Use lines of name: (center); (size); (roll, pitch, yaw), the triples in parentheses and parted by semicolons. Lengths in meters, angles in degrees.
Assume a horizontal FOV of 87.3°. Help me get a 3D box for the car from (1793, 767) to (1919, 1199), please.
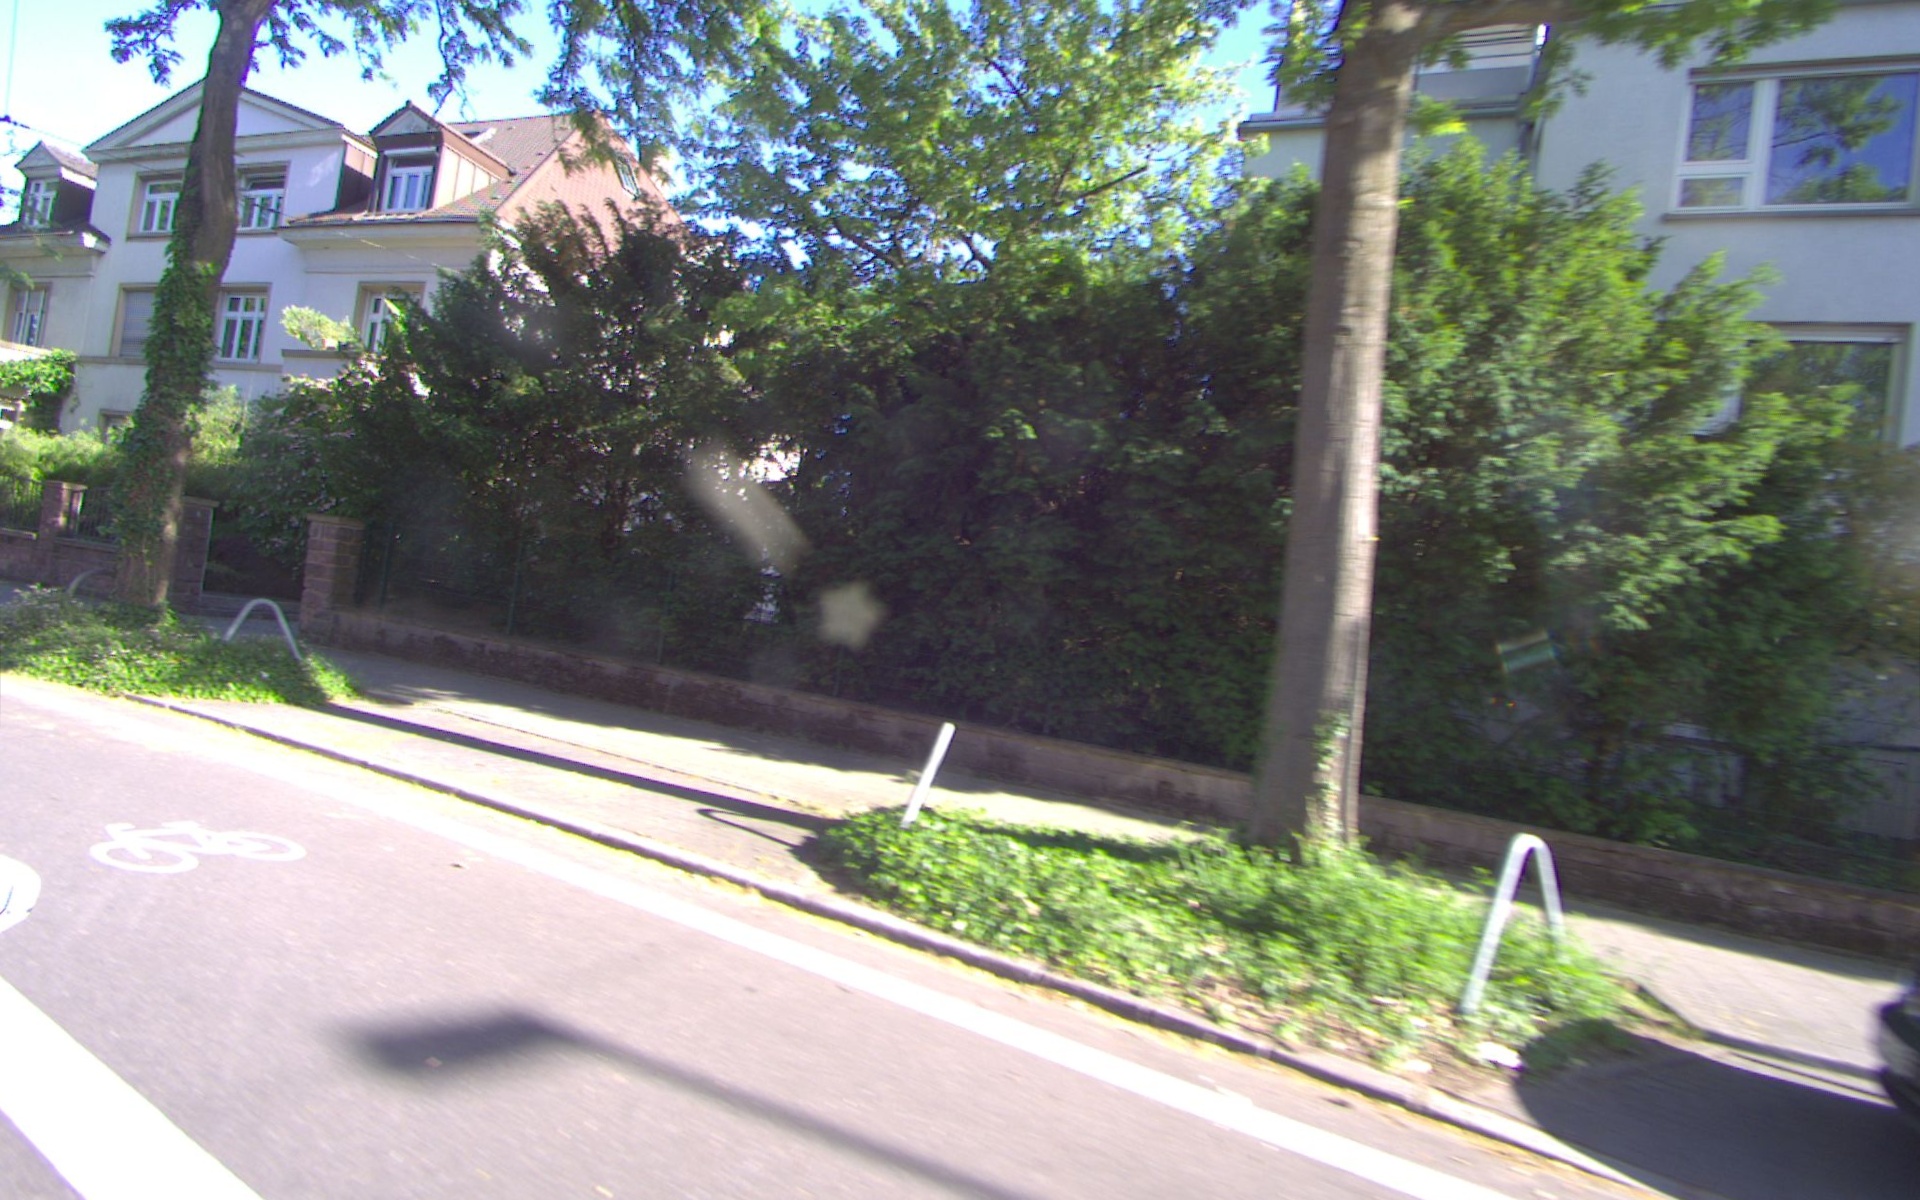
car: (5.439, 1.620, 2.882); (4.257, 1.439, 1.999); (6, -2, 28)
